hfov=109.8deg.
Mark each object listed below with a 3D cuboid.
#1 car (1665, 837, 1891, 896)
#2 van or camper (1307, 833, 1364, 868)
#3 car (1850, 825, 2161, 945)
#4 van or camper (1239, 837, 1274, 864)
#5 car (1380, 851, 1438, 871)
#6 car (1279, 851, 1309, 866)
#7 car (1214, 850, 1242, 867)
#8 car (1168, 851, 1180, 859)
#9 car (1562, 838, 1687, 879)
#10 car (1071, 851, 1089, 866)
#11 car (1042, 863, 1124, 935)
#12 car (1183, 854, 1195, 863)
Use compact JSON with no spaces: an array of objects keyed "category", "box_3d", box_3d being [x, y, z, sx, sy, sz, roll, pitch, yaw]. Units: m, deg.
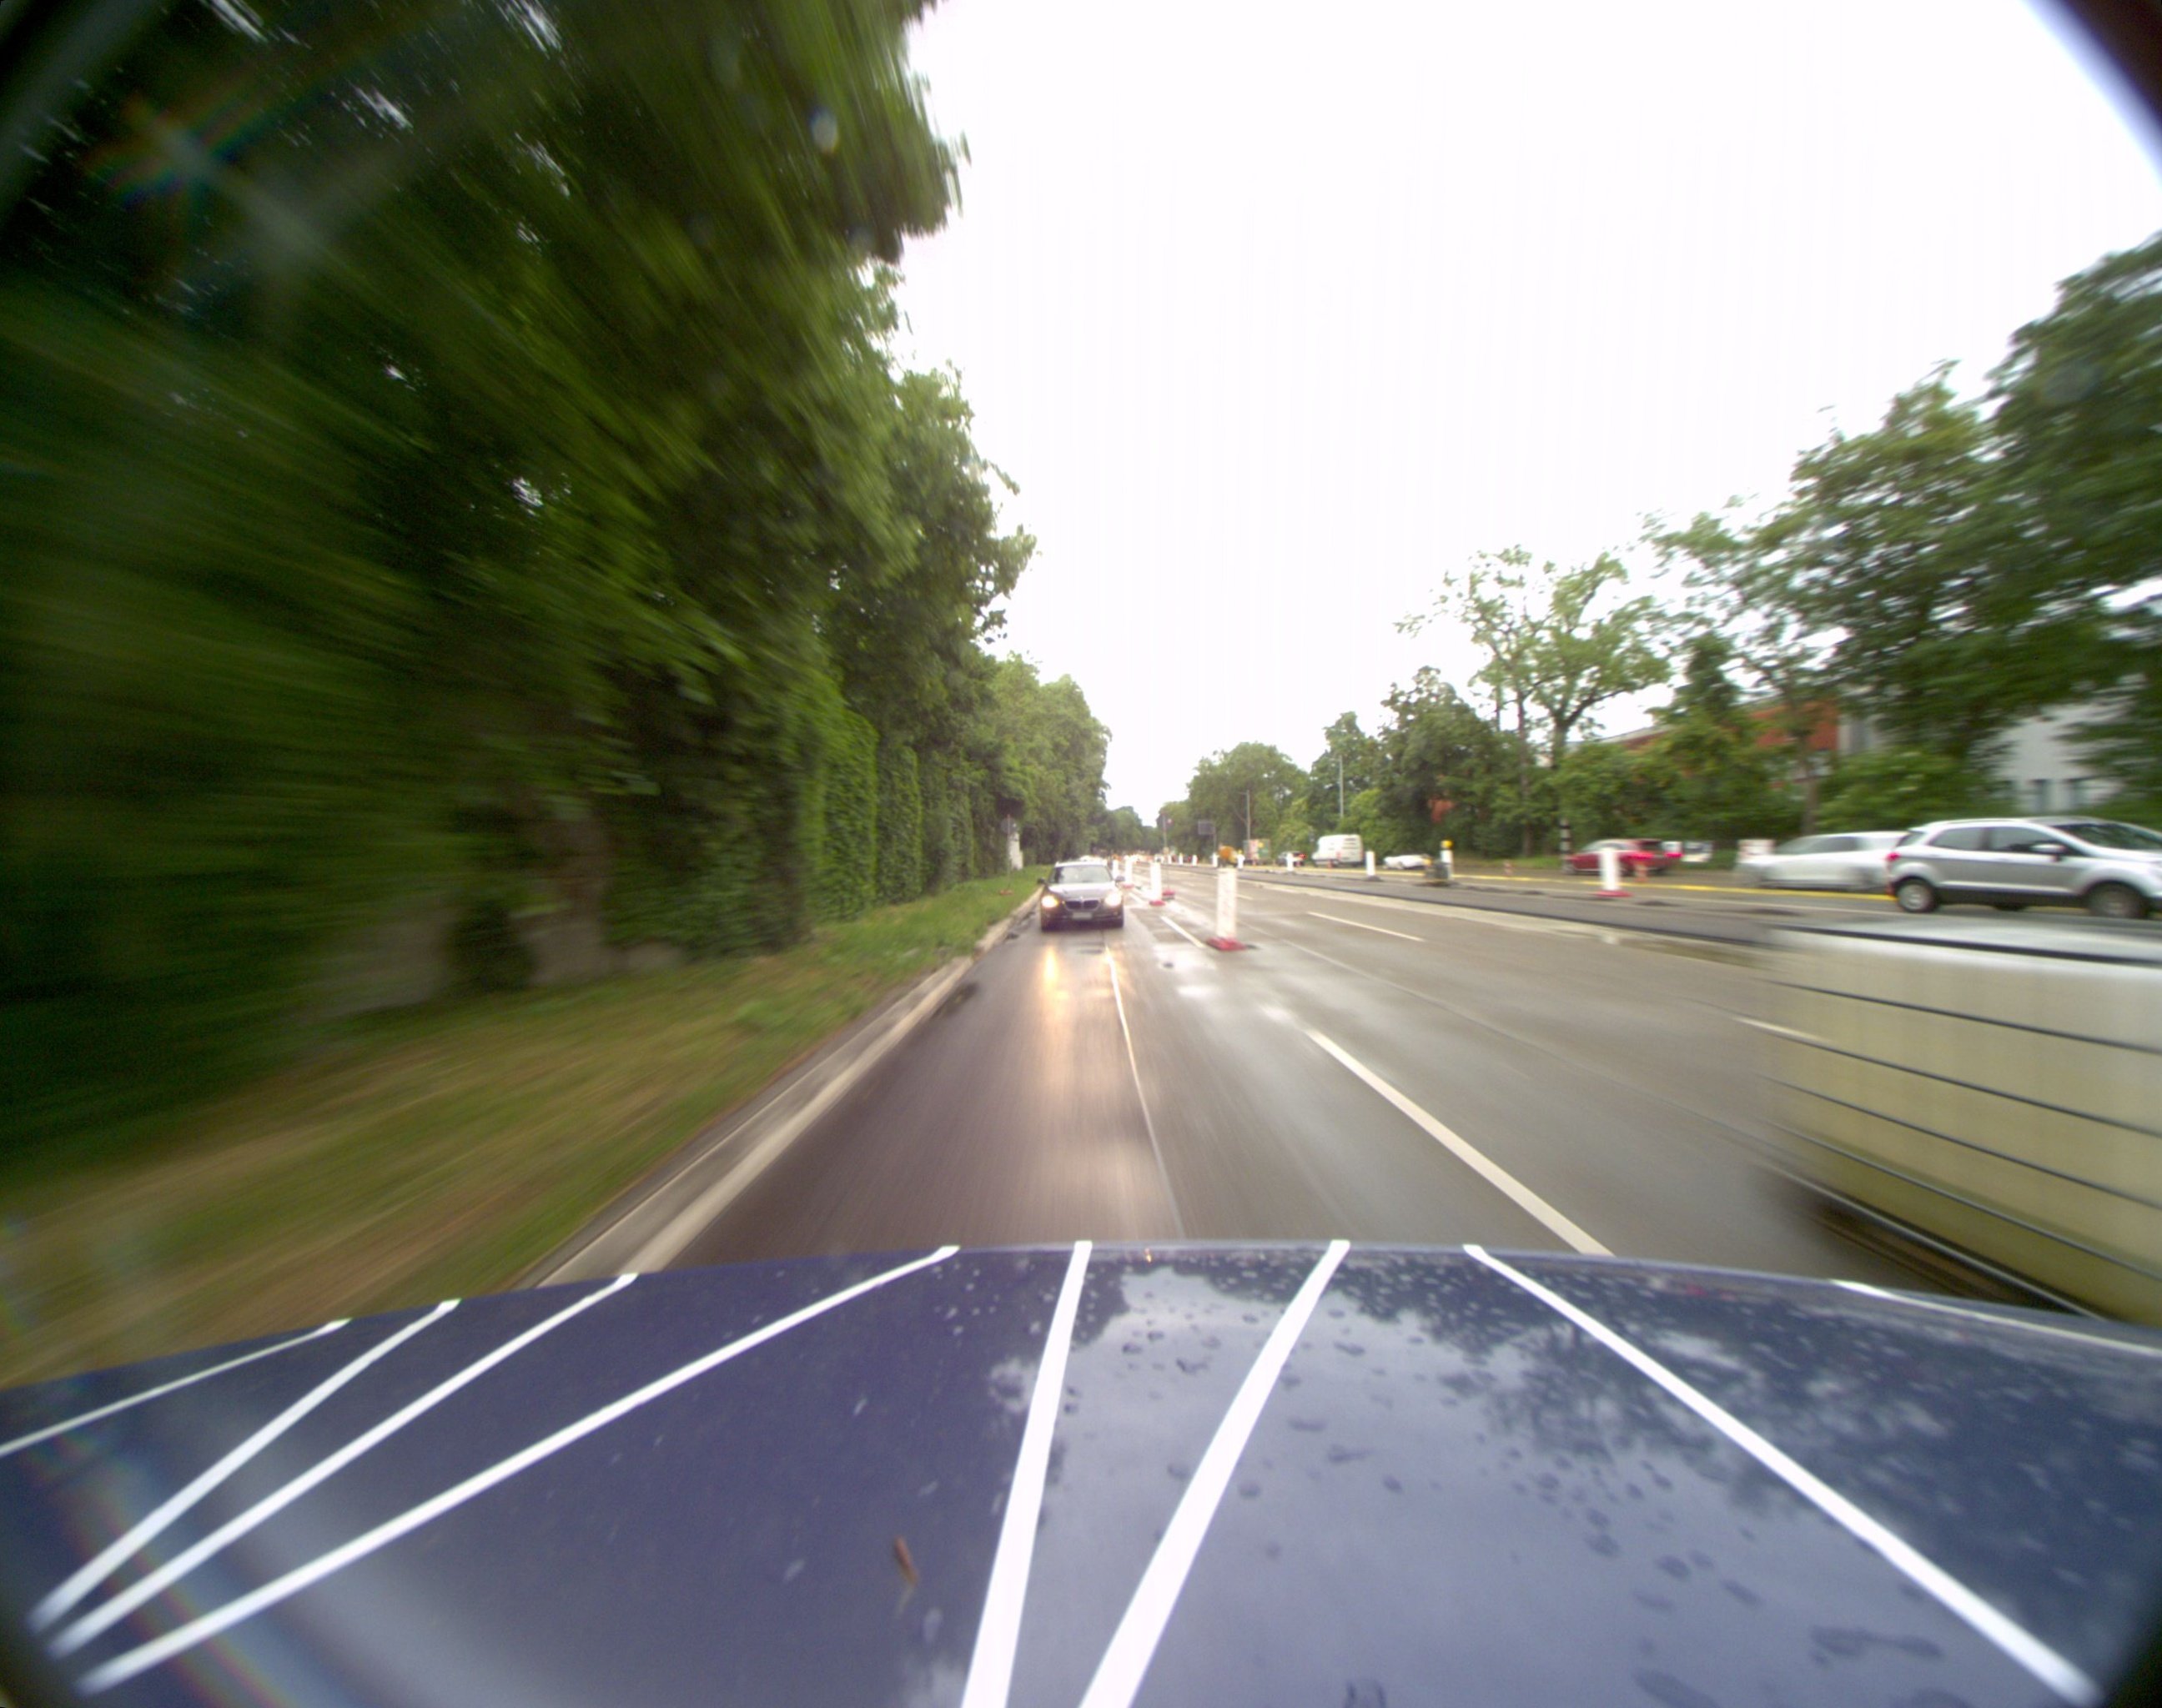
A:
[{"category":"car","box_3d":[18.621,0.297,20.648,1.999,1.407,4.391,-1,0,-3]},{"category":"van or camper","box_3d":[20.831,-0.271,62.563,1.998,2.540,7.729,-3,0,0]},{"category":"car","box_3d":[15.278,0.390,11.950,1.893,1.555,4.364,-3,0,0]},{"category":"van or camper","box_3d":[21.052,-0.449,91.551,2.303,3.045,7.451,-2,0,-1]},{"category":"car","box_3d":[21.049,0.434,48.914,1.694,1.176,3.998,-3,0,-5]},{"category":"car","box_3d":[20.682,0.446,73.943,1.720,1.356,4.081,-1,0,-1]},{"category":"car","box_3d":[14.626,0.413,75.907,1.998,1.619,4.813,-2,0,3]},{"category":"car","box_3d":[19.481,0.192,159.115,1.893,1.543,4.398,-2,0,0]},{"category":"car","box_3d":[21.439,0.168,30.237,1.733,1.467,4.486,-1,0,0]},{"category":"car","box_3d":[-0.119,0.480,90.156,1.998,1.707,4.000,-1,0,2]},{"category":"car","box_3d":[0.041,0.931,17.524,1.658,1.409,4.129,-1,0,0]},{"category":"car","box_3d":[18.616,0.780,131.034,1.691,1.434,4.108,-2,0,1]}]
